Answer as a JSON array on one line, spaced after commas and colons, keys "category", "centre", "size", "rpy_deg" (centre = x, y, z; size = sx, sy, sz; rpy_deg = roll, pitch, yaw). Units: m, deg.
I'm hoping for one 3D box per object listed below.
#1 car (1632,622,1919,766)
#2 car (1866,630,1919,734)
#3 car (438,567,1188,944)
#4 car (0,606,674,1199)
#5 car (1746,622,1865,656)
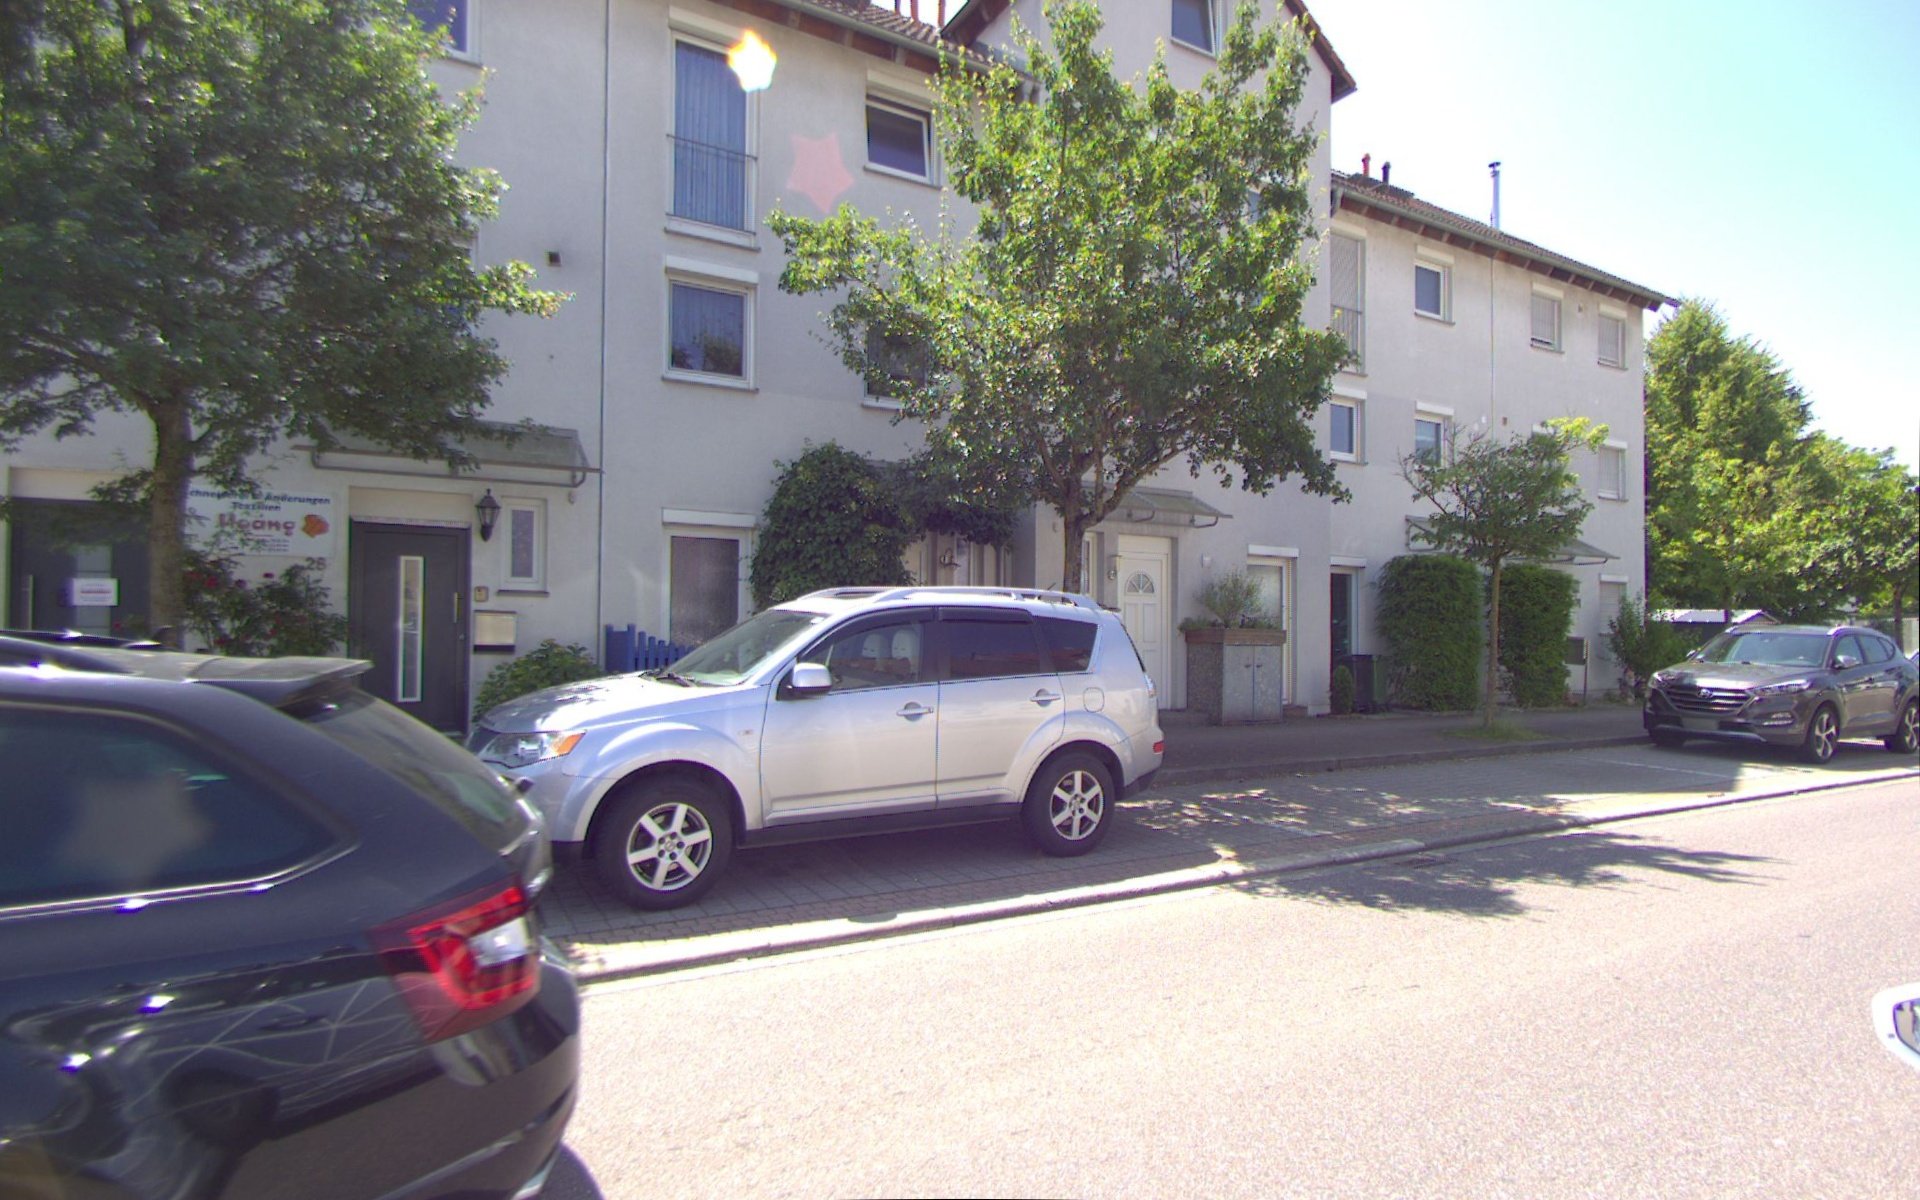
[{"category": "car", "centre": [10.868, 1.148, 13.307], "size": [3.950, 1.641, 1.684], "rpy_deg": [2, -1, -30]}, {"category": "car", "centre": [16.719, 1.338, 16.506], "size": [3.793, 1.602, 1.689], "rpy_deg": [2, -1, -31]}, {"category": "car", "centre": [-0.780, 0.762, 6.466], "size": [4.474, 1.709, 1.697], "rpy_deg": [2, -1, -31]}, {"category": "car", "centre": [-2.793, 0.756, 1.636], "size": [4.205, 1.465, 1.711], "rpy_deg": [1, -3, -30]}, {"category": "car", "centre": [44.824, 2.044, 53.384], "size": [1.714, 1.673, 4.618], "rpy_deg": [1, -2, -21]}]
